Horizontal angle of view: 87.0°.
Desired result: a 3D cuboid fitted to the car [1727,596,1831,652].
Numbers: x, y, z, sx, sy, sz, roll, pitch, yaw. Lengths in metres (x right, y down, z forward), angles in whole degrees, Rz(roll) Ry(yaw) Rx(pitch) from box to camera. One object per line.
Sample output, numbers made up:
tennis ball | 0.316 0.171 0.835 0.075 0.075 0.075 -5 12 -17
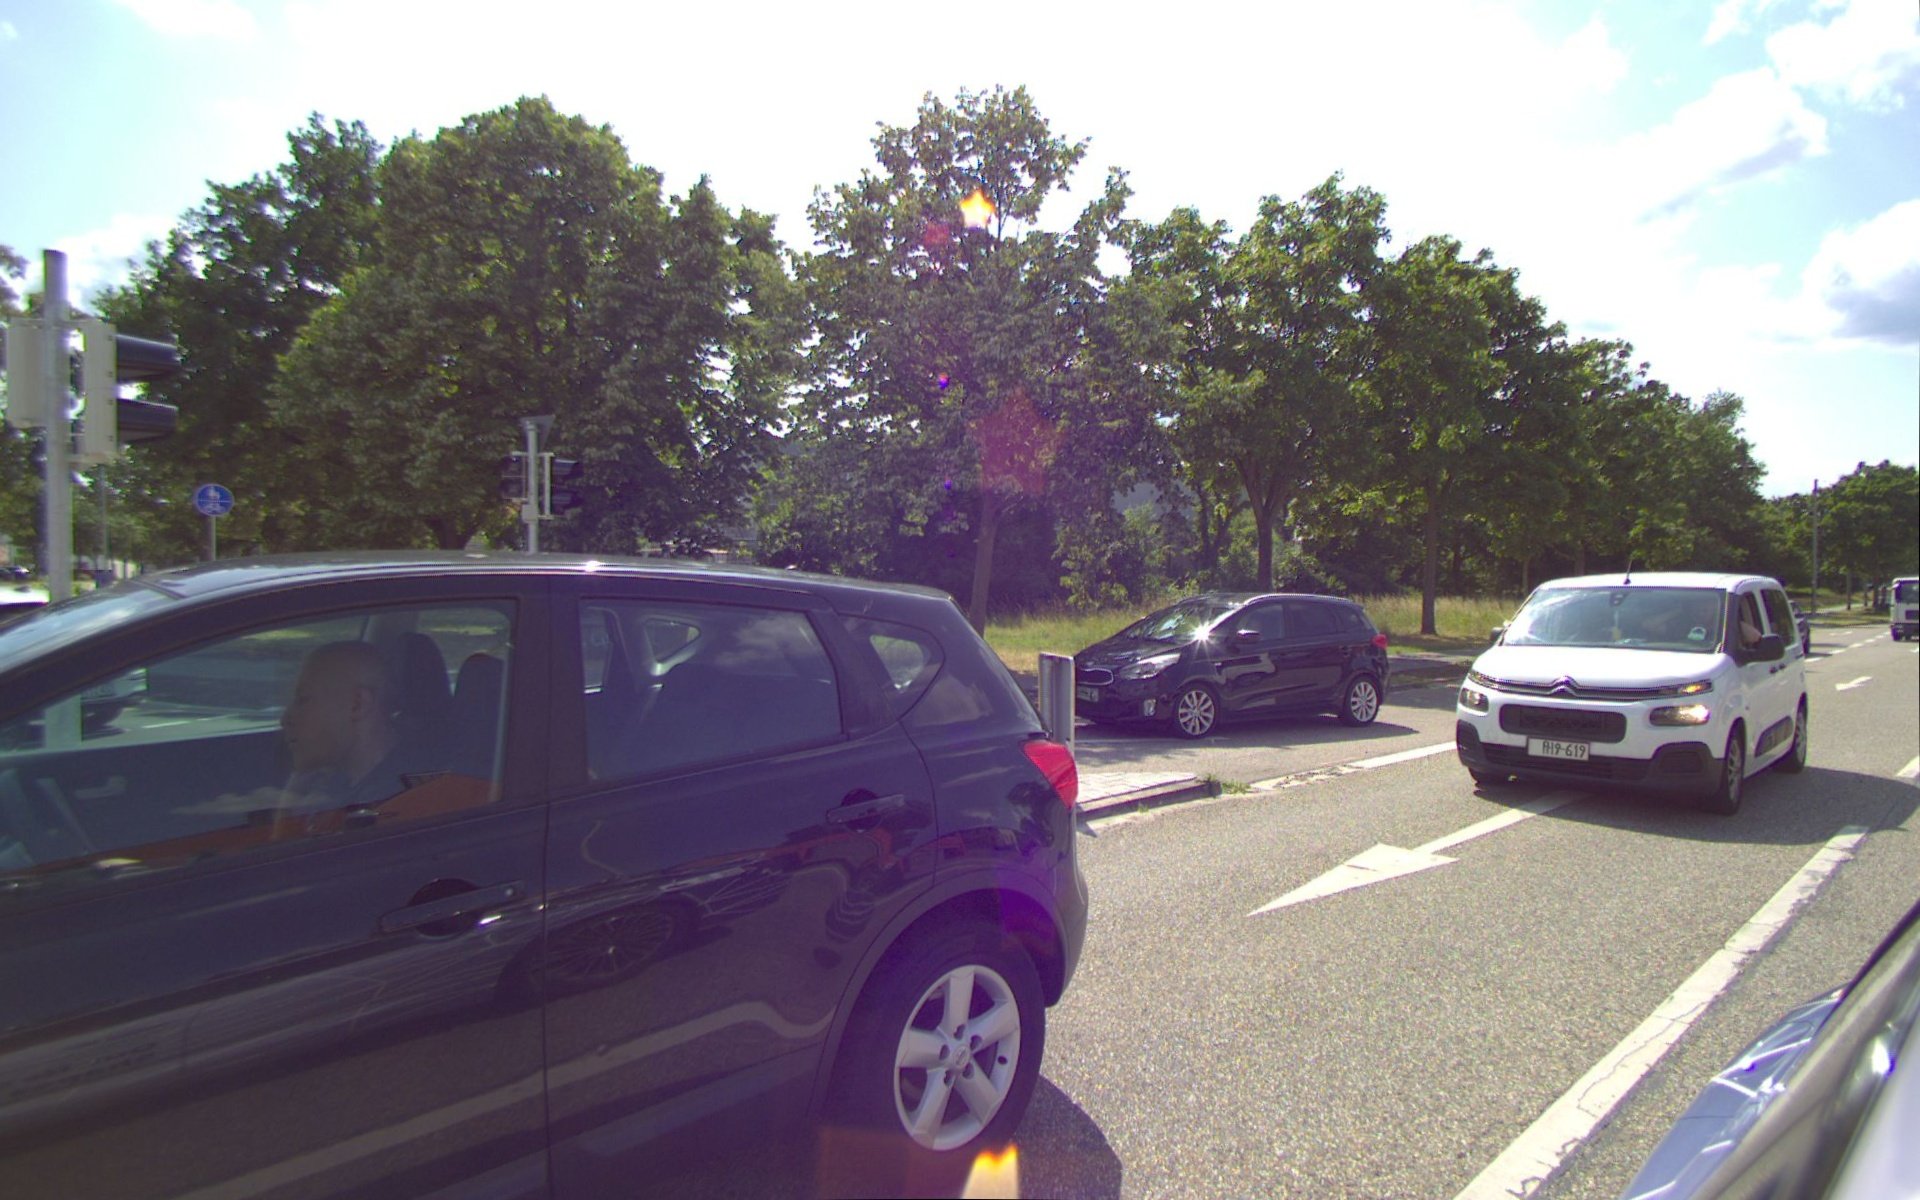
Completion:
car | 24.772 0.694 30.572 3.930 1.509 1.757 -2 0 -41

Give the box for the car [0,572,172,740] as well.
car | -10.432 0.480 10.000 4.016 1.505 1.737 0 0 2

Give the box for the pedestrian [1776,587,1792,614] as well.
pedestrian | 57.004 0.040 70.029 0.728 1.816 0.717 -1 -1 -45

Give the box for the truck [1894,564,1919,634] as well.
truck | 40.125 -0.139 40.752 7.224 2.697 2.845 -2 0 -41

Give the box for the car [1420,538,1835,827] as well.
car | 5.887 0.529 8.658 4.637 1.808 1.932 0 -1 -44

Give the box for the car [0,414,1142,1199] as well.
car | -1.547 0.556 2.212 3.933 1.572 1.801 -2 0 -43

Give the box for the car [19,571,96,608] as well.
car | -32.312 -0.363 36.206 1.884 1.193 3.768 -1 0 -44

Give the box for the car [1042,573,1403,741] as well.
car | 3.209 0.566 12.168 4.154 1.670 1.772 -2 0 -31

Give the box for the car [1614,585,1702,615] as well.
car | 42.312 0.001 61.405 4.161 1.511 1.757 5 2 41
